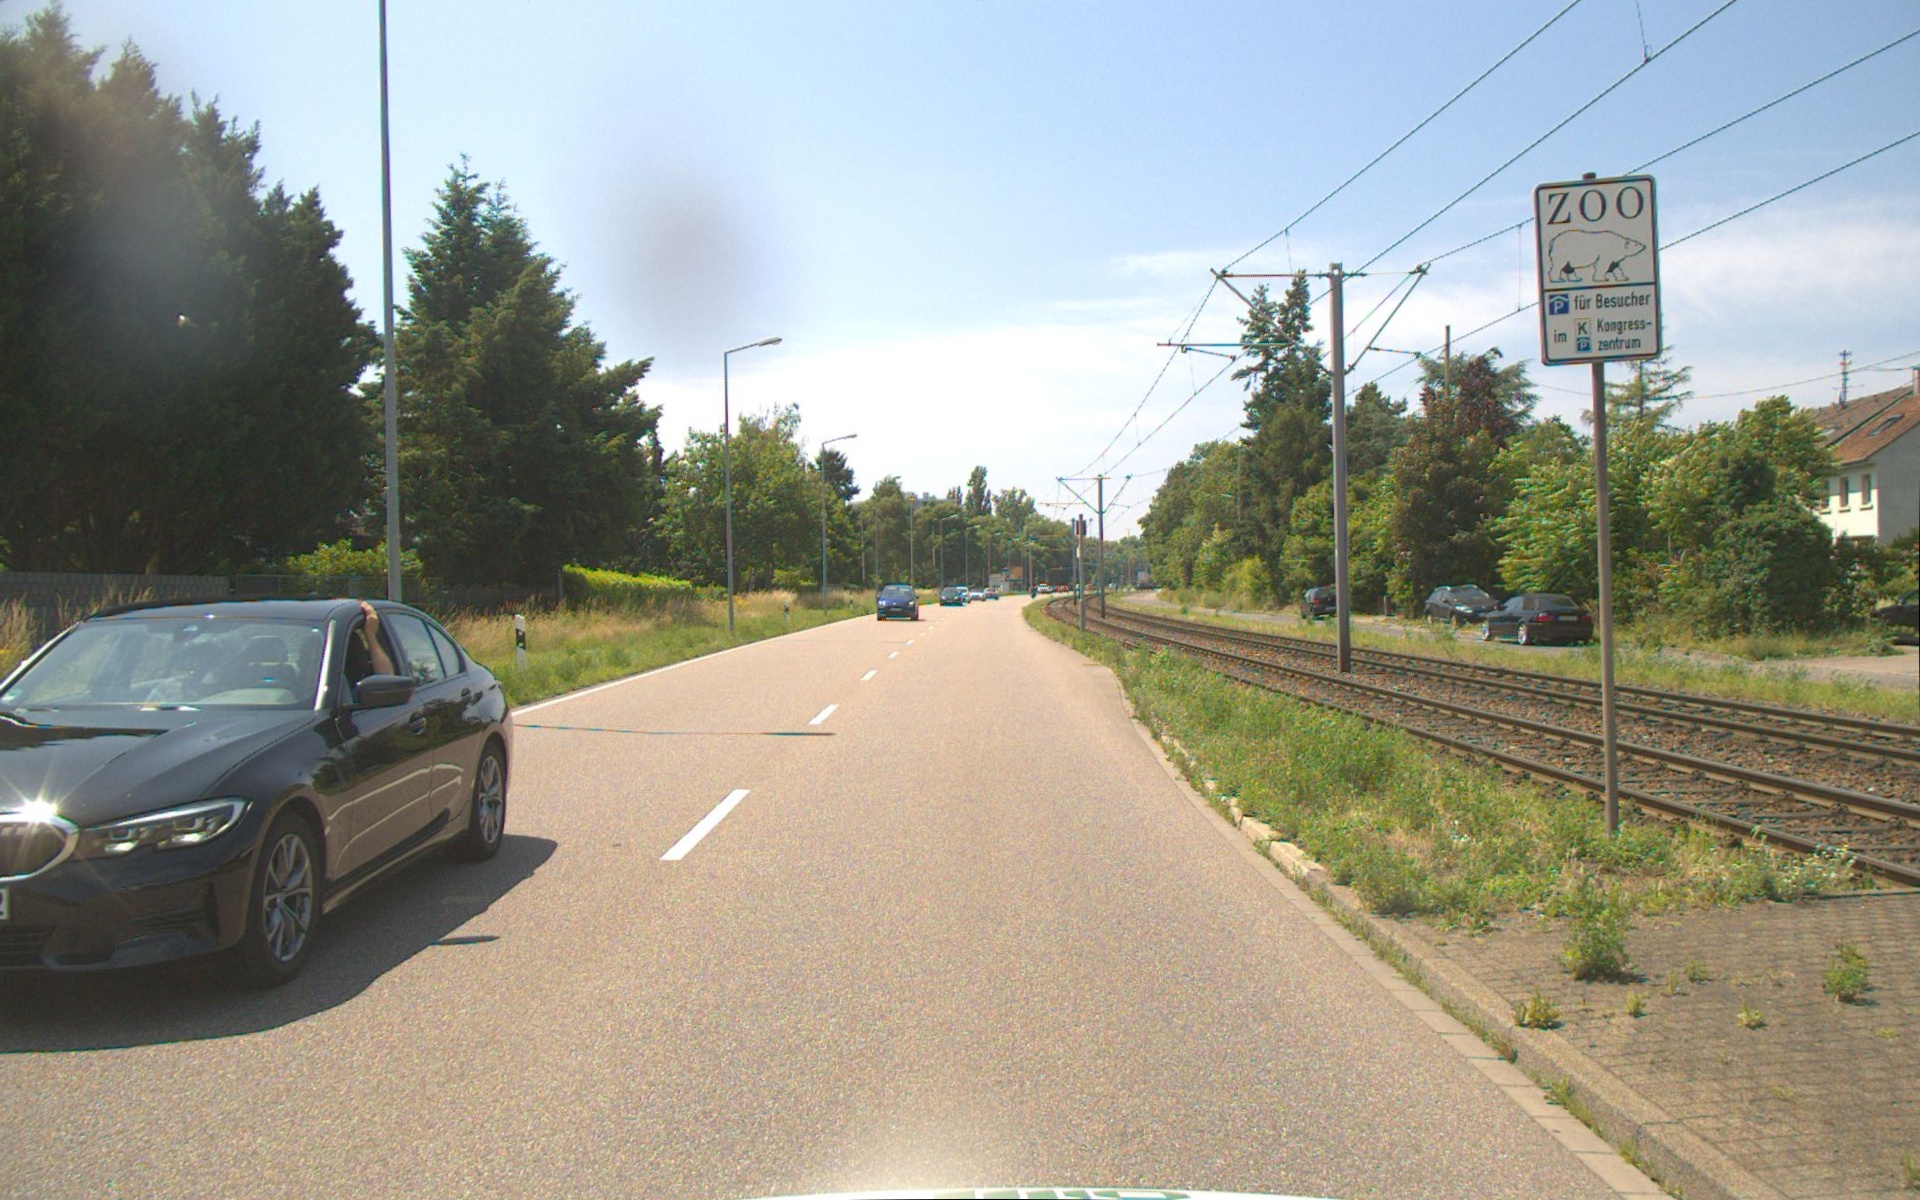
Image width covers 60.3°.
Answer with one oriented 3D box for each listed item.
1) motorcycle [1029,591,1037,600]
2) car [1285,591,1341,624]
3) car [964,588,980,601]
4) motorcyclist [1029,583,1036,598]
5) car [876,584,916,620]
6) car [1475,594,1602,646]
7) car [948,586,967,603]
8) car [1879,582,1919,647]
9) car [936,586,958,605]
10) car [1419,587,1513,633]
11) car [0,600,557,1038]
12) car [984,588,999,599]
[{"bbox_3d":[9.458,-0.638,214.347,0.949,1.137,2.734,0,0,5],"label":"motorcycle"},{"bbox_3d":[16.606,0.331,78.025,1.874,1.496,4.001,0,0,1],"label":"car"},{"bbox_3d":[1.268,-0.571,174.006,1.647,1.271,3.910,0,0,2],"label":"car"},{"bbox_3d":[9.433,-1.231,214.237,0.873,1.938,1.016,0,0,5],"label":"motorcyclist"},{"bbox_3d":[-2.987,0.073,77.764,1.711,1.660,4.030,0,0,0],"label":"car"},{"bbox_3d":[15.722,0.517,45.213,1.823,1.353,4.514,0,0,-1],"label":"car"},{"bbox_3d":[-0.236,-0.522,154.439,1.711,1.529,3.708,0,0,1],"label":"car"},{"bbox_3d":[22.066,0.322,36.271,1.685,1.444,3.738,0,0,-1],"label":"car"},{"bbox_3d":[-1.041,-0.375,137.343,1.665,1.517,4.441,0,0,1],"label":"car"},{"bbox_3d":[18.136,0.344,59.516,1.895,1.588,4.555,0,0,-1],"label":"car"},{"bbox_3d":[-3.304,0.722,7.810,1.671,1.429,4.707,0,0,0],"label":"car"},{"bbox_3d":[3.714,-0.730,192.322,1.713,1.324,4.254,0,0,2],"label":"car"}]
